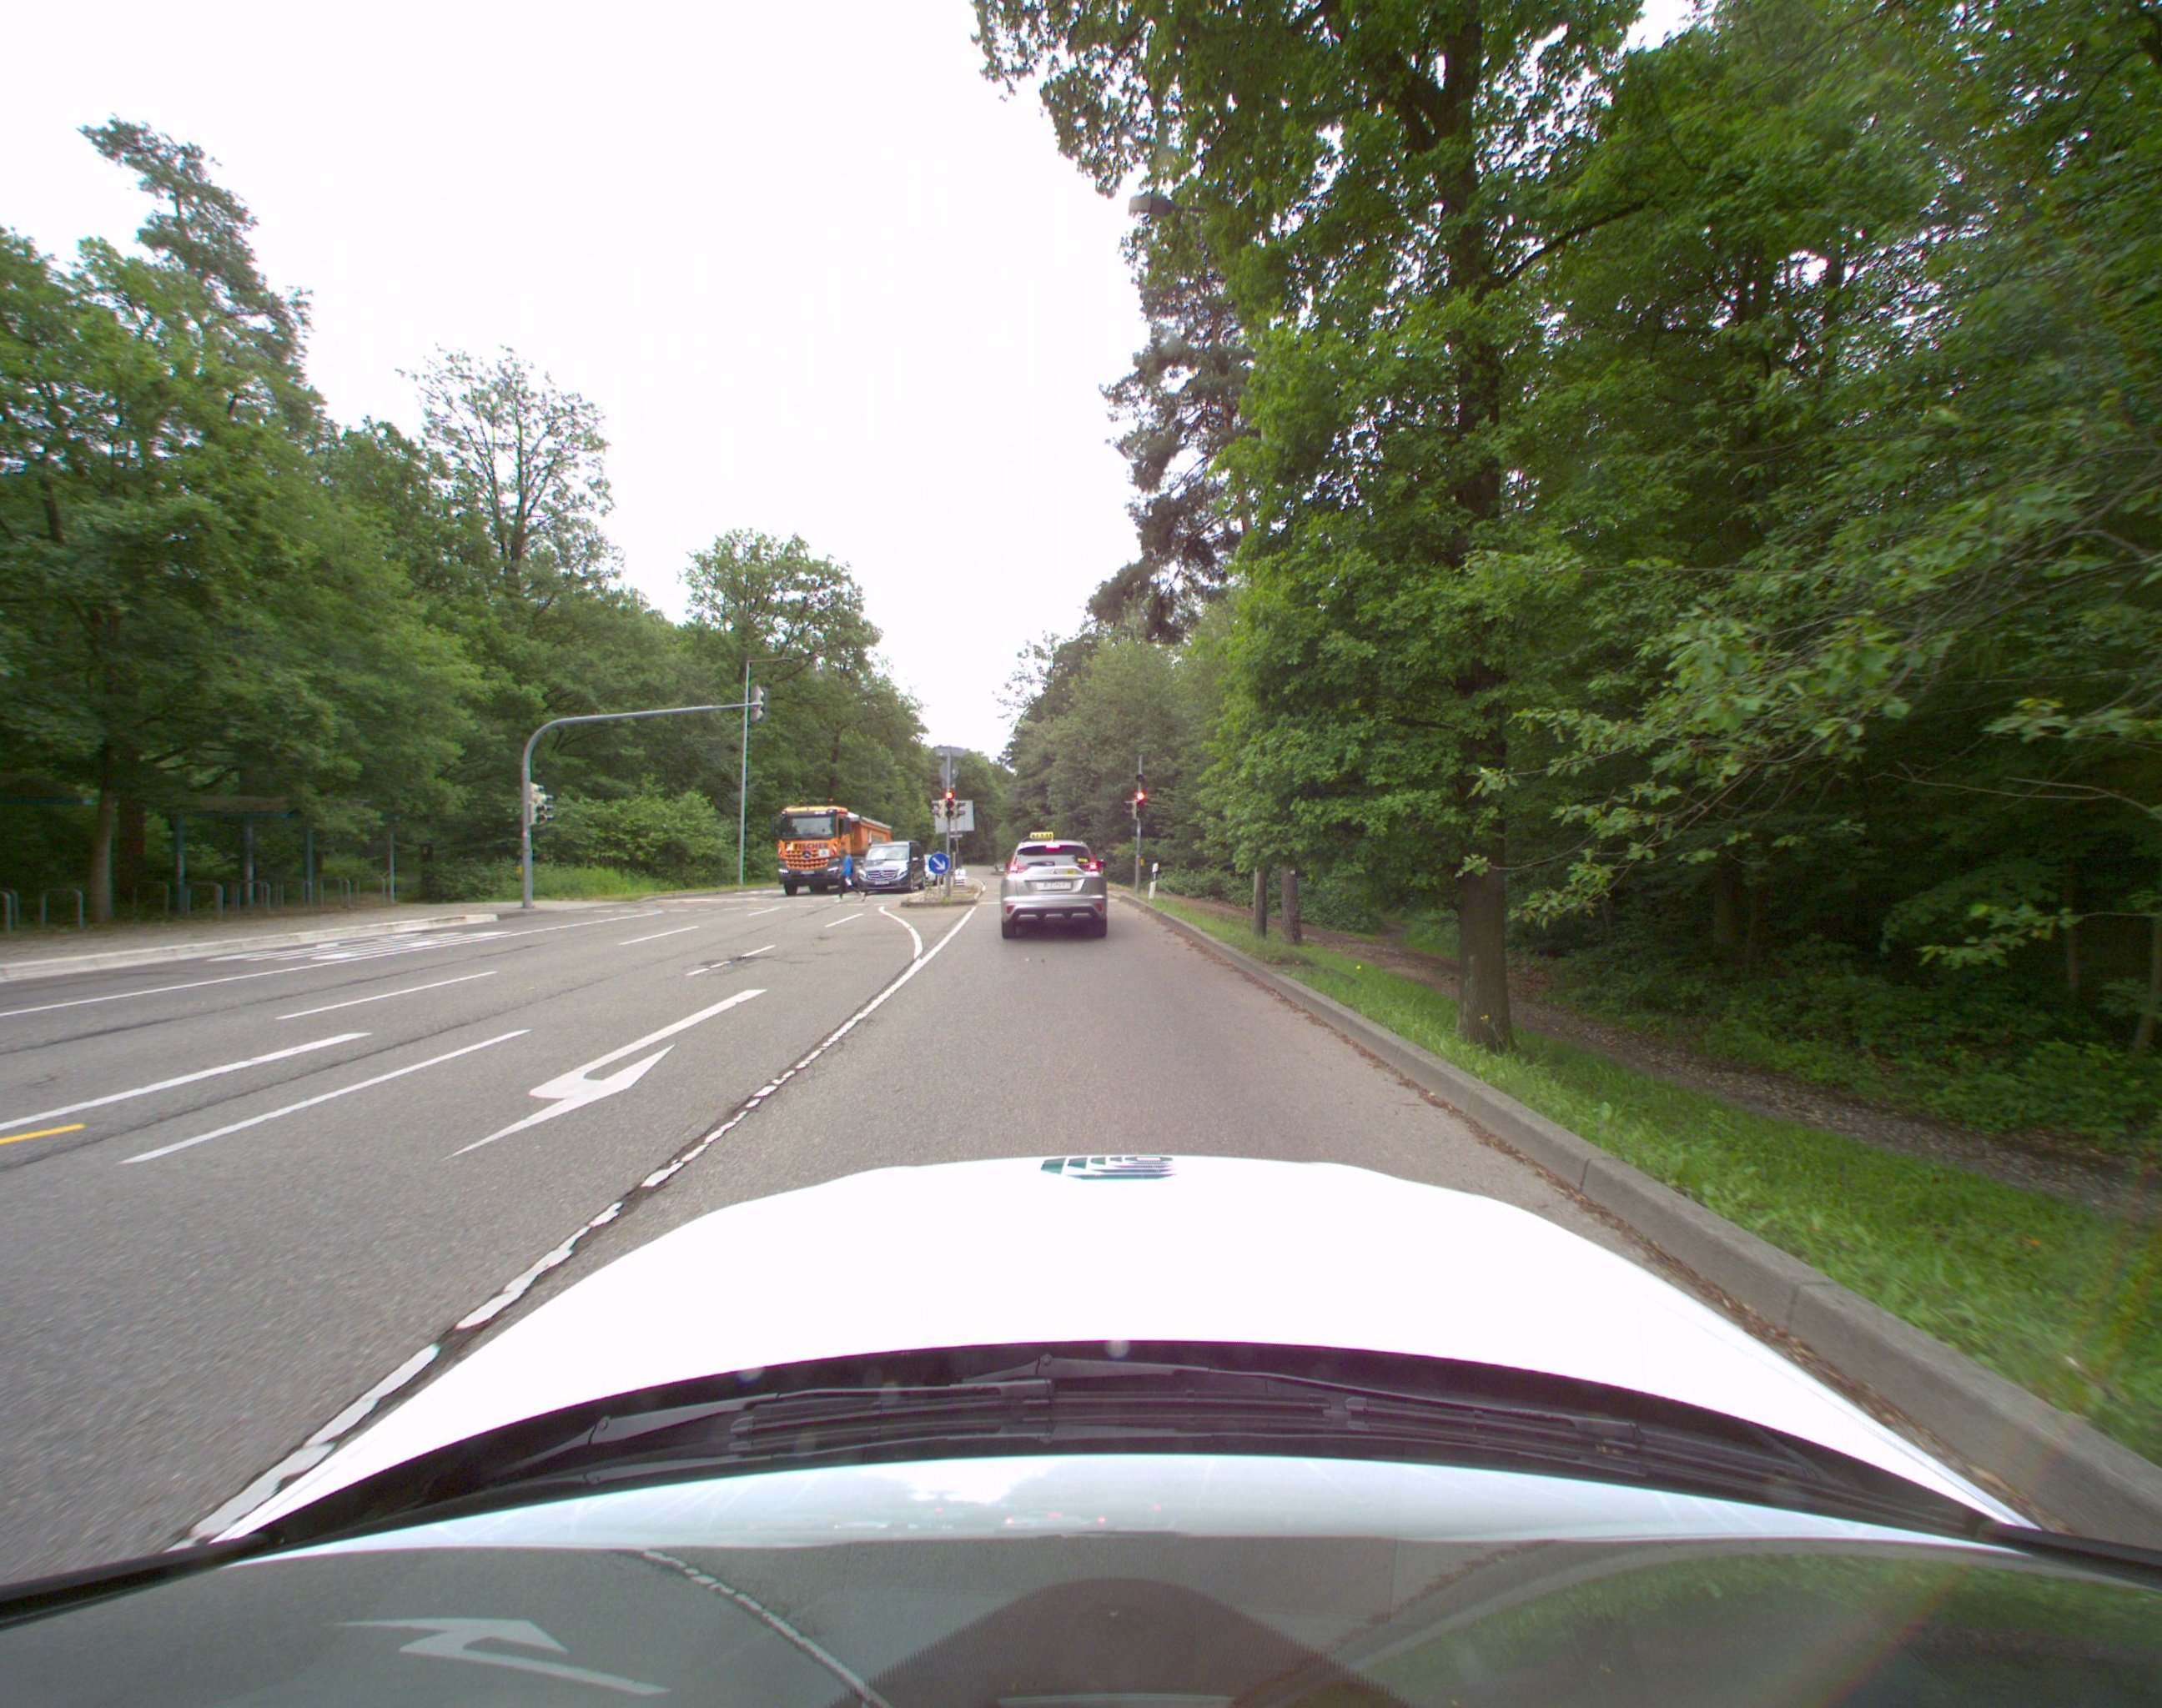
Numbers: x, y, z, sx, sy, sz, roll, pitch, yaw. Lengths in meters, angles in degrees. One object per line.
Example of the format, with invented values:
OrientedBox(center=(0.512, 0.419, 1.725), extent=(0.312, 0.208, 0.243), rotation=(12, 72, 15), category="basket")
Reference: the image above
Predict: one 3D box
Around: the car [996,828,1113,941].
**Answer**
OrientedBox(center=(-0.521, 0.450, 14.928), extent=(1.843, 1.780, 3.995), rotation=(-1, 1, -3), category="car")

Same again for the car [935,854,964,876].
OrientedBox(center=(-9.937, 0.822, 61.725), extent=(1.809, 1.508, 3.713), rotation=(-3, 0, -6), category="car")

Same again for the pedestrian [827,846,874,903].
OrientedBox(center=(-6.897, 0.603, 24.419), extent=(1.043, 1.649, 1.070), rotation=(-1, 1, 3), category="pedestrian")

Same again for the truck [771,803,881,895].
OrientedBox(center=(-10.216, -0.149, 33.422), extent=(2.735, 3.318, 7.146), rotation=(-2, -1, -5), category="truck")

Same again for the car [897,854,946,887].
OrientedBox(center=(-7.360, 0.723, 37.859), extent=(1.608, 1.321, 3.718), rotation=(-3, 1, -3), category="car")

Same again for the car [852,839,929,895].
OrientedBox(center=(-7.059, 0.464, 30.685), extent=(1.990, 1.893, 4.832), rotation=(-2, 0, -4), category="car")

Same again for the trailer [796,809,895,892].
OrientedBox(center=(-10.593, -0.096, 37.576), extent=(2.735, 3.318, 8.552), rotation=(-2, -1, -5), category="trailer")
